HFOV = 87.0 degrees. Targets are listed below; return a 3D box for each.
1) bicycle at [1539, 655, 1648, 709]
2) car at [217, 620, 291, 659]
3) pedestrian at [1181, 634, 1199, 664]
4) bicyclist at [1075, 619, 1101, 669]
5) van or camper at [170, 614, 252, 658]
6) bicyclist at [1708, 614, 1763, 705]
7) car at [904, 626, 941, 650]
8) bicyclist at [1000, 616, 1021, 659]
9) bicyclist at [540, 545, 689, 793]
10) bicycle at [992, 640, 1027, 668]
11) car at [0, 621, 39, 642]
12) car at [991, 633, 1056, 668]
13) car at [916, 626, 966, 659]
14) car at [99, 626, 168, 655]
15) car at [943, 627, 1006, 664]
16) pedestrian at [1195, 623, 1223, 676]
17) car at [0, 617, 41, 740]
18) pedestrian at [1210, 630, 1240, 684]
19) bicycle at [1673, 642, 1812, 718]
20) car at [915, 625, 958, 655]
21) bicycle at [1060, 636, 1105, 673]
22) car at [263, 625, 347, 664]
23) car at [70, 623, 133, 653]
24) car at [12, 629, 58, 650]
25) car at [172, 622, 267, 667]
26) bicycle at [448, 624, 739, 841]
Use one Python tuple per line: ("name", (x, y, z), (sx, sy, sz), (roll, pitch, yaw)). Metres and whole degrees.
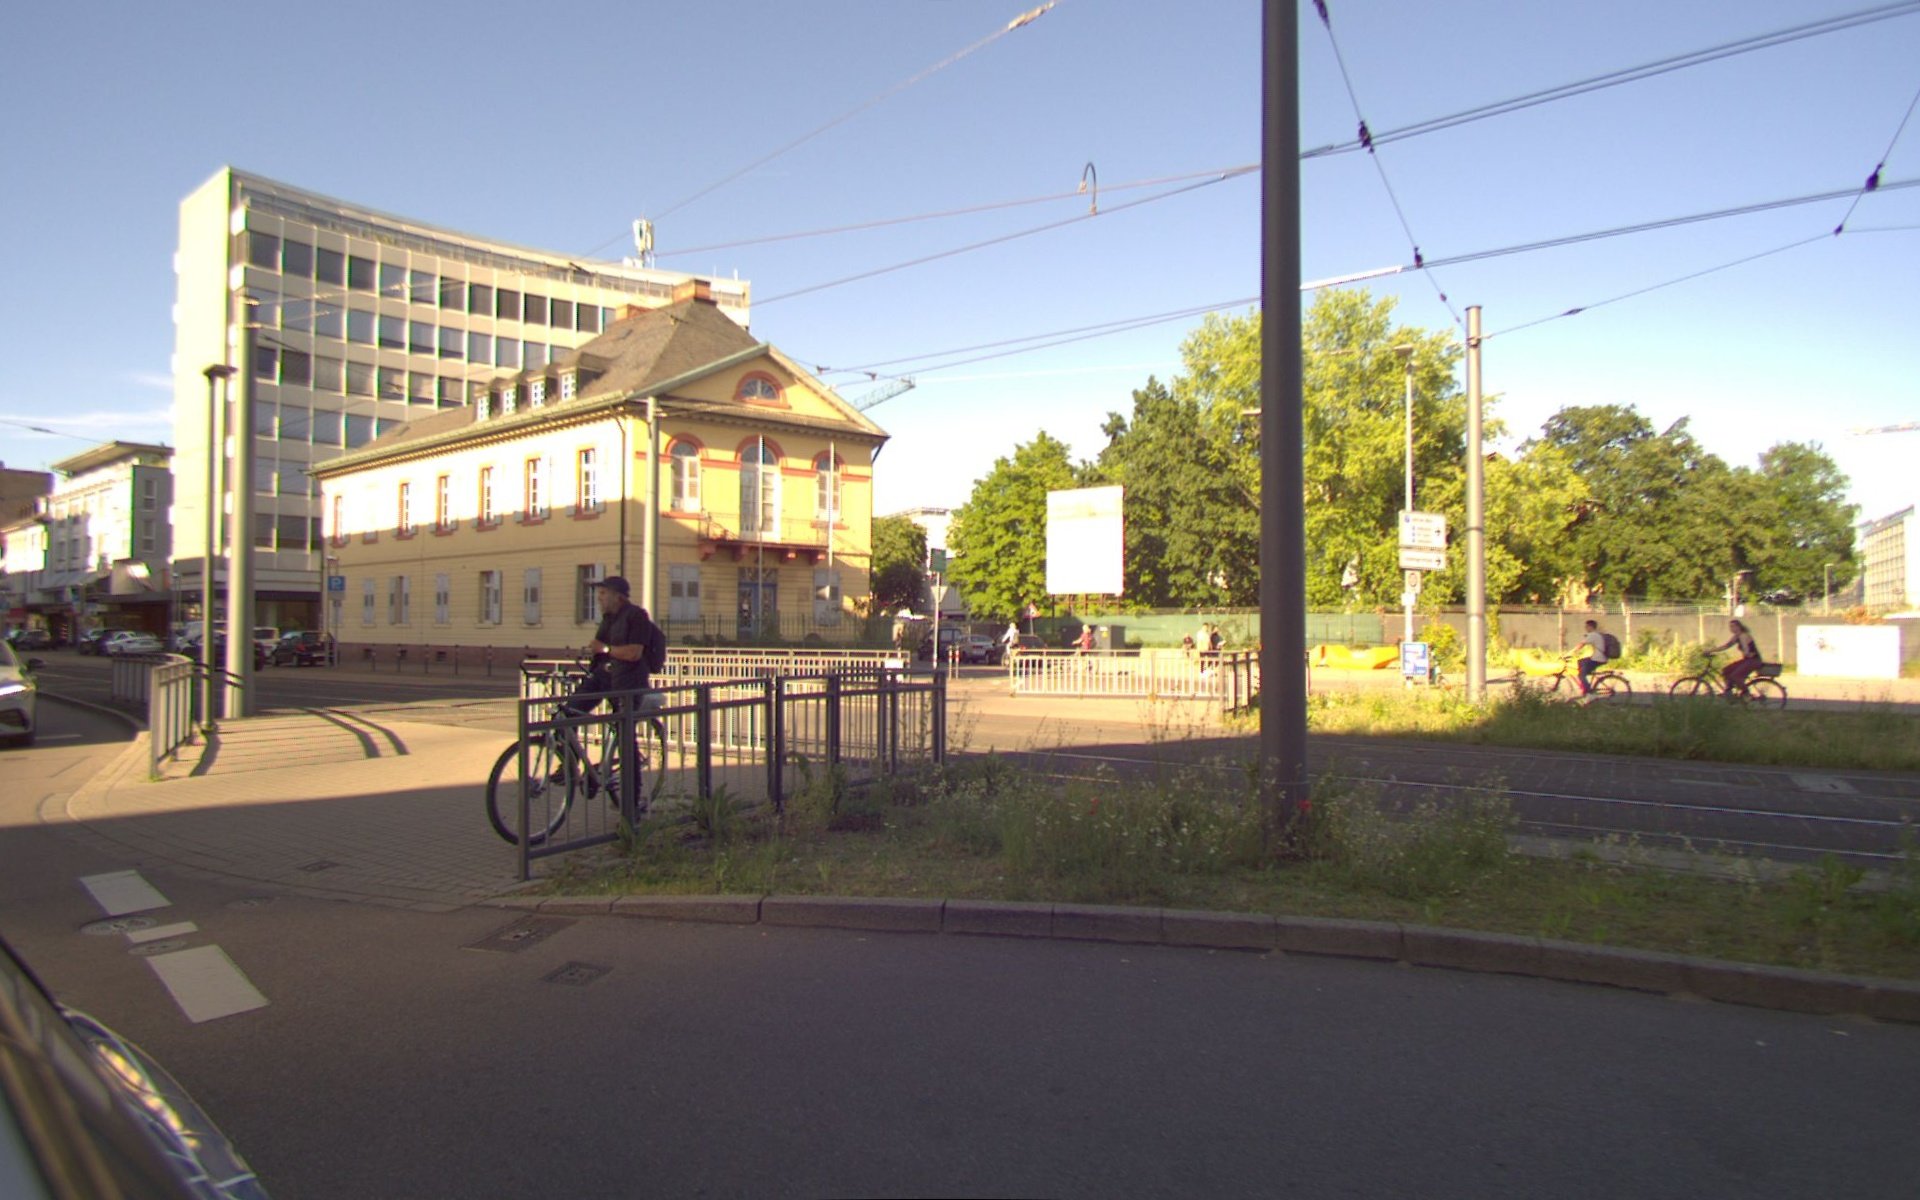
("bicycle", (13.402, 1.720, 21.442), (1.884, 1.021, 0.643), (0, -1, 42))
("car", (-31.800, 1.734, 45.573), (4.173, 1.633, 1.758), (0, 0, 41))
("pedestrian", (11.537, 2.435, 50.758), (0.684, 1.462, 0.739), (0, -1, 33))
("bicyclist", (4.431, 1.514, 35.149), (0.513, 1.686, 0.772), (1, -1, -33))
("van or camper", (-36.470, 1.691, 49.239), (4.789, 1.988, 1.936), (0, 0, 37))
("bicyclist", (14.534, 1.100, 18.979), (0.805, 1.661, 0.583), (0, -1, 38))
("car", (-2.774, 2.780, 74.099), (1.771, 1.683, 3.767), (1, -1, -17))
("bicyclist", (1.983, 1.458, 39.821), (0.513, 1.686, 0.773), (1, -1, -27))
("bicyclist", (-2.287, 0.431, 6.730), (0.632, 1.535, 0.676), (0, -1, 31))
("bicycle", (1.938, 2.112, 39.884), (0.522, 1.021, 1.891), (1, -1, -27))
("car", (-69.760, 2.304, 74.866), (3.828, 1.531, 1.764), (0, -1, 38))
("car", (2.725, 2.181, 44.285), (1.622, 1.357, 3.771), (1, -1, -17))
("car", (-1.075, 2.242, 54.370), (1.772, 1.683, 3.767), (1, -1, -16))
("car", (-46.752, 2.248, 57.222), (4.283, 1.463, 1.909), (0, 0, 34))
("car", (0.640, 2.171, 49.464), (1.861, 1.683, 3.876), (1, -1, -19))
("pedestrian", (8.666, 1.713, 35.228), (0.586, 1.831, 0.706), (1, -2, -40))
("car", (-13.573, 0.949, 13.292), (4.775, 1.450, 1.843), (0, -2, 43))
("pedestrian", (9.347, 2.005, 35.721), (0.696, 1.865, 0.741), (1, -2, -40))
("bicycle", (14.586, 1.456, 18.924), (2.024, 1.301, 0.568), (0, -1, 38))
("car", (-1.419, 2.317, 59.487), (1.772, 1.683, 3.765), (1, -1, -13))
("bicycle", (4.263, 1.881, 35.408), (0.522, 1.223, 1.890), (1, -1, -31))
("car", (-27.165, 1.790, 41.924), (3.956, 1.450, 1.759), (0, 0, 39))
("car", (-51.344, 2.218, 60.532), (4.273, 1.654, 1.909), (0, 0, 36))
("car", (-65.476, 2.784, 71.644), (3.591, 1.427, 1.765), (0, -1, 37))
("car", (-28.088, 1.657, 38.367), (4.113, 1.572, 1.670), (0, -1, 35))
("bicycle", (-2.326, 0.769, 6.669), (0.639, 1.221, 1.807), (0, -1, 31))
